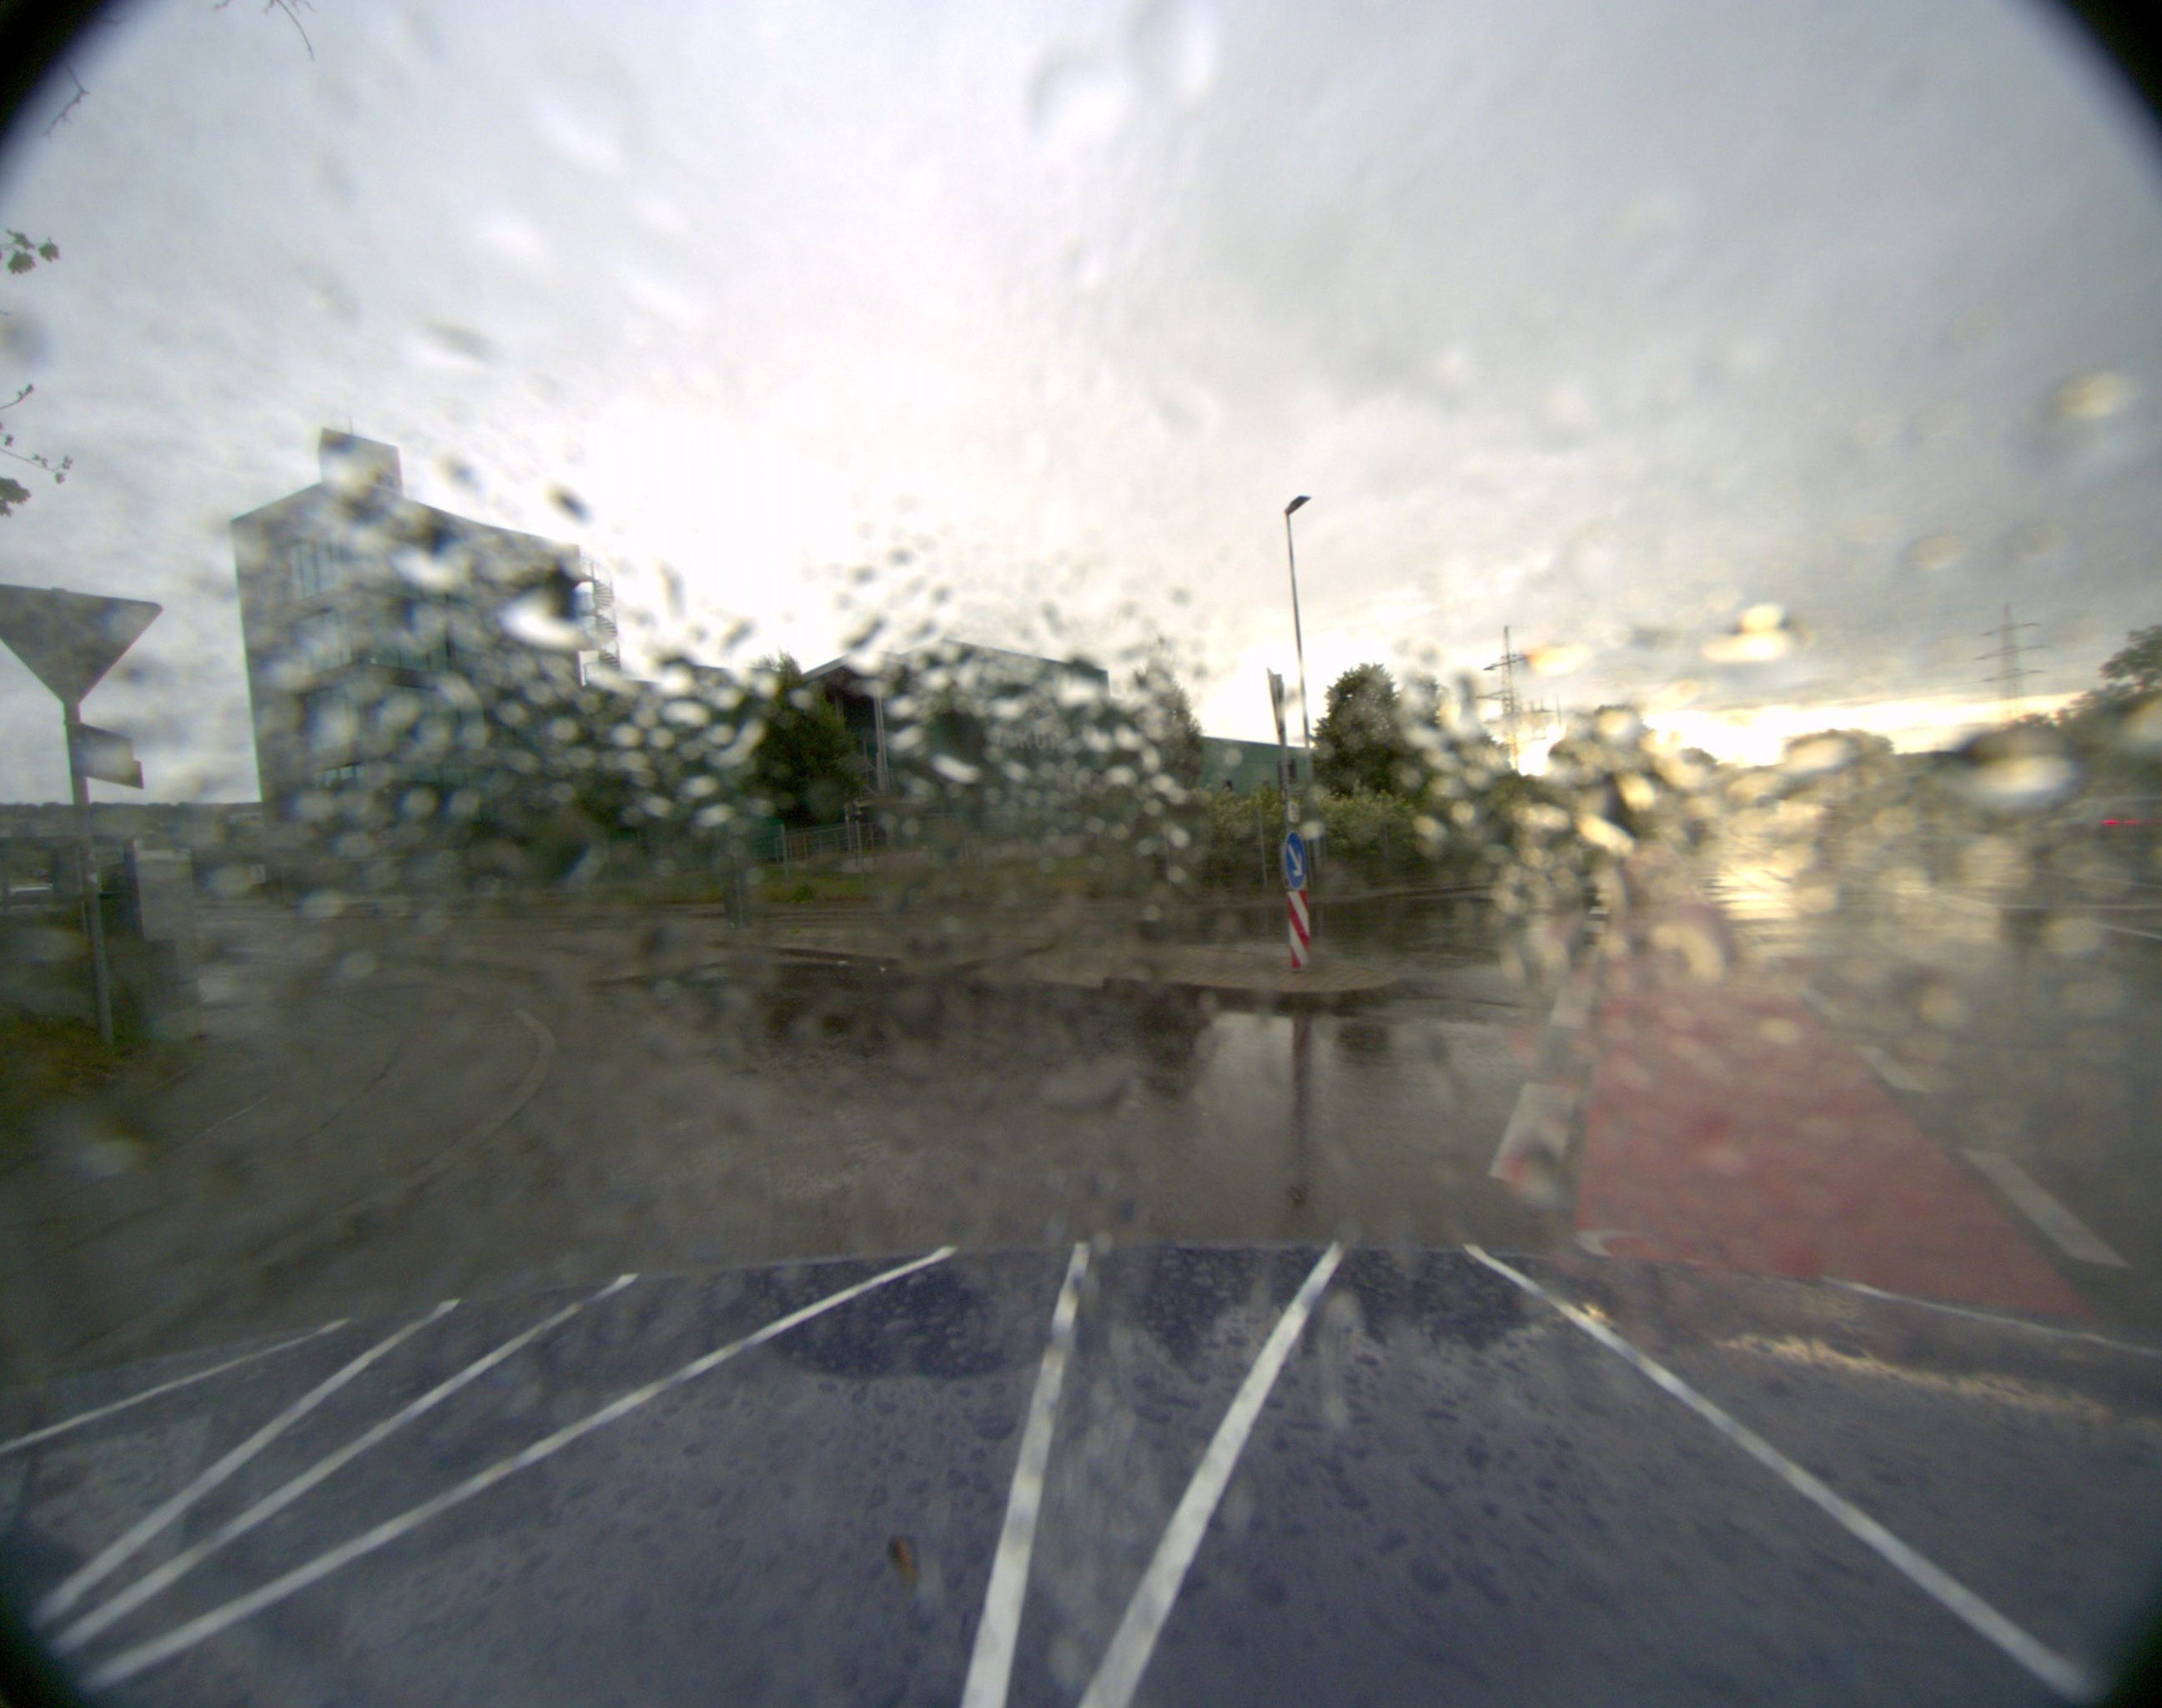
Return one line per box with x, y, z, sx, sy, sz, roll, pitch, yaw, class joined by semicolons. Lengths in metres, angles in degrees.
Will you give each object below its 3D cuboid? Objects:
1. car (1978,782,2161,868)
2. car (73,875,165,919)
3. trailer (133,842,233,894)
25.178;-0.791;18.736;2.355;1.805;6.889;-2;1;36;car
-43.587;1.939;34.431;3.948;1.787;1.748;-2;2;27;car
-74.829;1.117;63.413;4.701;4.066;2.386;-3;2;-12;trailer
